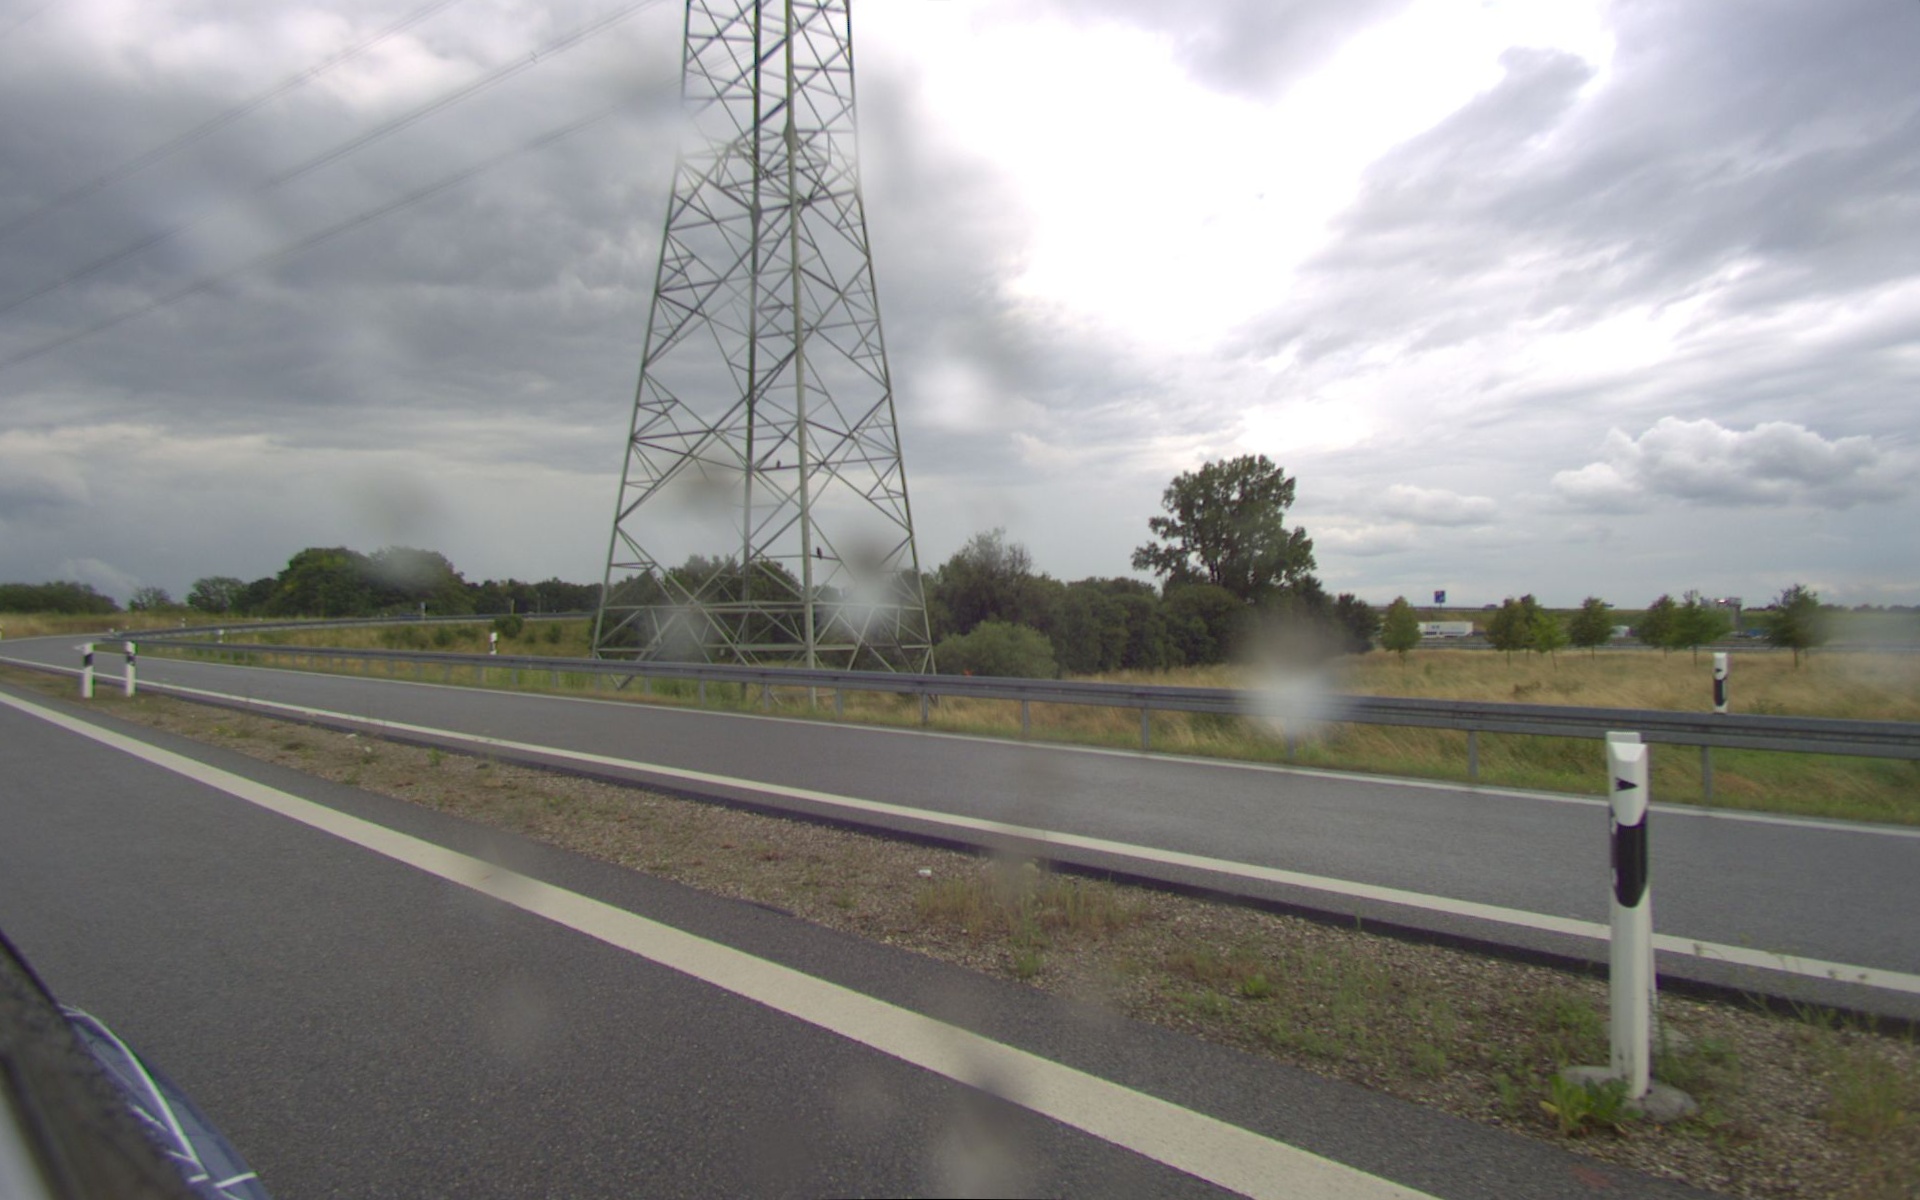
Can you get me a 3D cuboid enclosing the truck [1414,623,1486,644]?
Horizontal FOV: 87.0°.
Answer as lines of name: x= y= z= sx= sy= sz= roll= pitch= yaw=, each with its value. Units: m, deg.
truck: x=90.873 y=6.273 z=187.964 sx=3.177 sy=3.115 sz=12.078 roll=0 pitch=-5 yaw=-33
